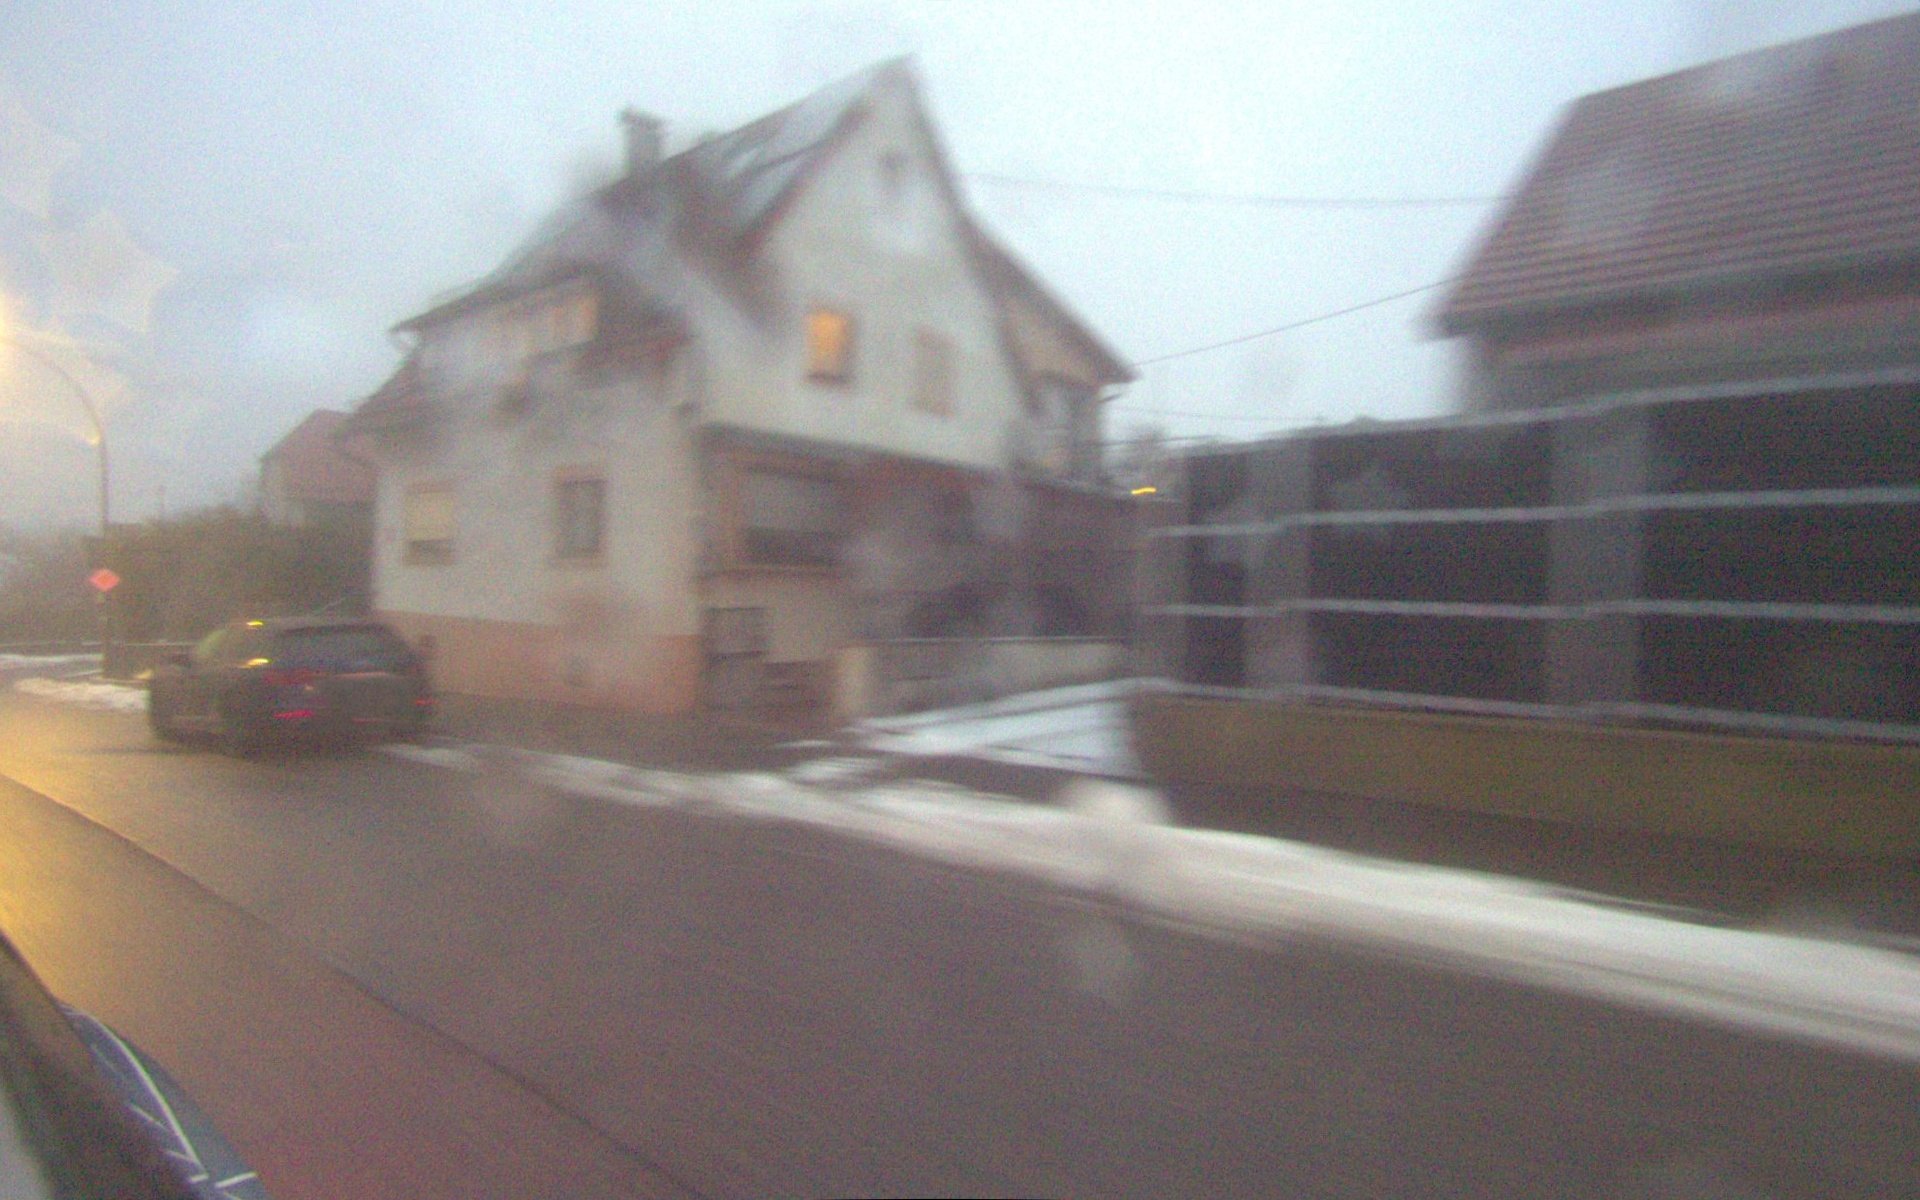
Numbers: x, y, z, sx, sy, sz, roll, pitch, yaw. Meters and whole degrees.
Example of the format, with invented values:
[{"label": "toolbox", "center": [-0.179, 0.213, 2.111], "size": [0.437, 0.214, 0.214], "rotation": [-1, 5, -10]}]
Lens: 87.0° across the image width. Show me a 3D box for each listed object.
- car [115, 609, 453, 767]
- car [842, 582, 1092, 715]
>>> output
[{"label": "car", "center": [-8.260, 0.922, 12.122], "size": [5.386, 1.437, 1.858], "rotation": [-2, 0, 39]}, {"label": "car", "center": [0.229, 0.619, 15.758], "size": [1.792, 1.660, 3.947], "rotation": [2, 4, 40]}]
